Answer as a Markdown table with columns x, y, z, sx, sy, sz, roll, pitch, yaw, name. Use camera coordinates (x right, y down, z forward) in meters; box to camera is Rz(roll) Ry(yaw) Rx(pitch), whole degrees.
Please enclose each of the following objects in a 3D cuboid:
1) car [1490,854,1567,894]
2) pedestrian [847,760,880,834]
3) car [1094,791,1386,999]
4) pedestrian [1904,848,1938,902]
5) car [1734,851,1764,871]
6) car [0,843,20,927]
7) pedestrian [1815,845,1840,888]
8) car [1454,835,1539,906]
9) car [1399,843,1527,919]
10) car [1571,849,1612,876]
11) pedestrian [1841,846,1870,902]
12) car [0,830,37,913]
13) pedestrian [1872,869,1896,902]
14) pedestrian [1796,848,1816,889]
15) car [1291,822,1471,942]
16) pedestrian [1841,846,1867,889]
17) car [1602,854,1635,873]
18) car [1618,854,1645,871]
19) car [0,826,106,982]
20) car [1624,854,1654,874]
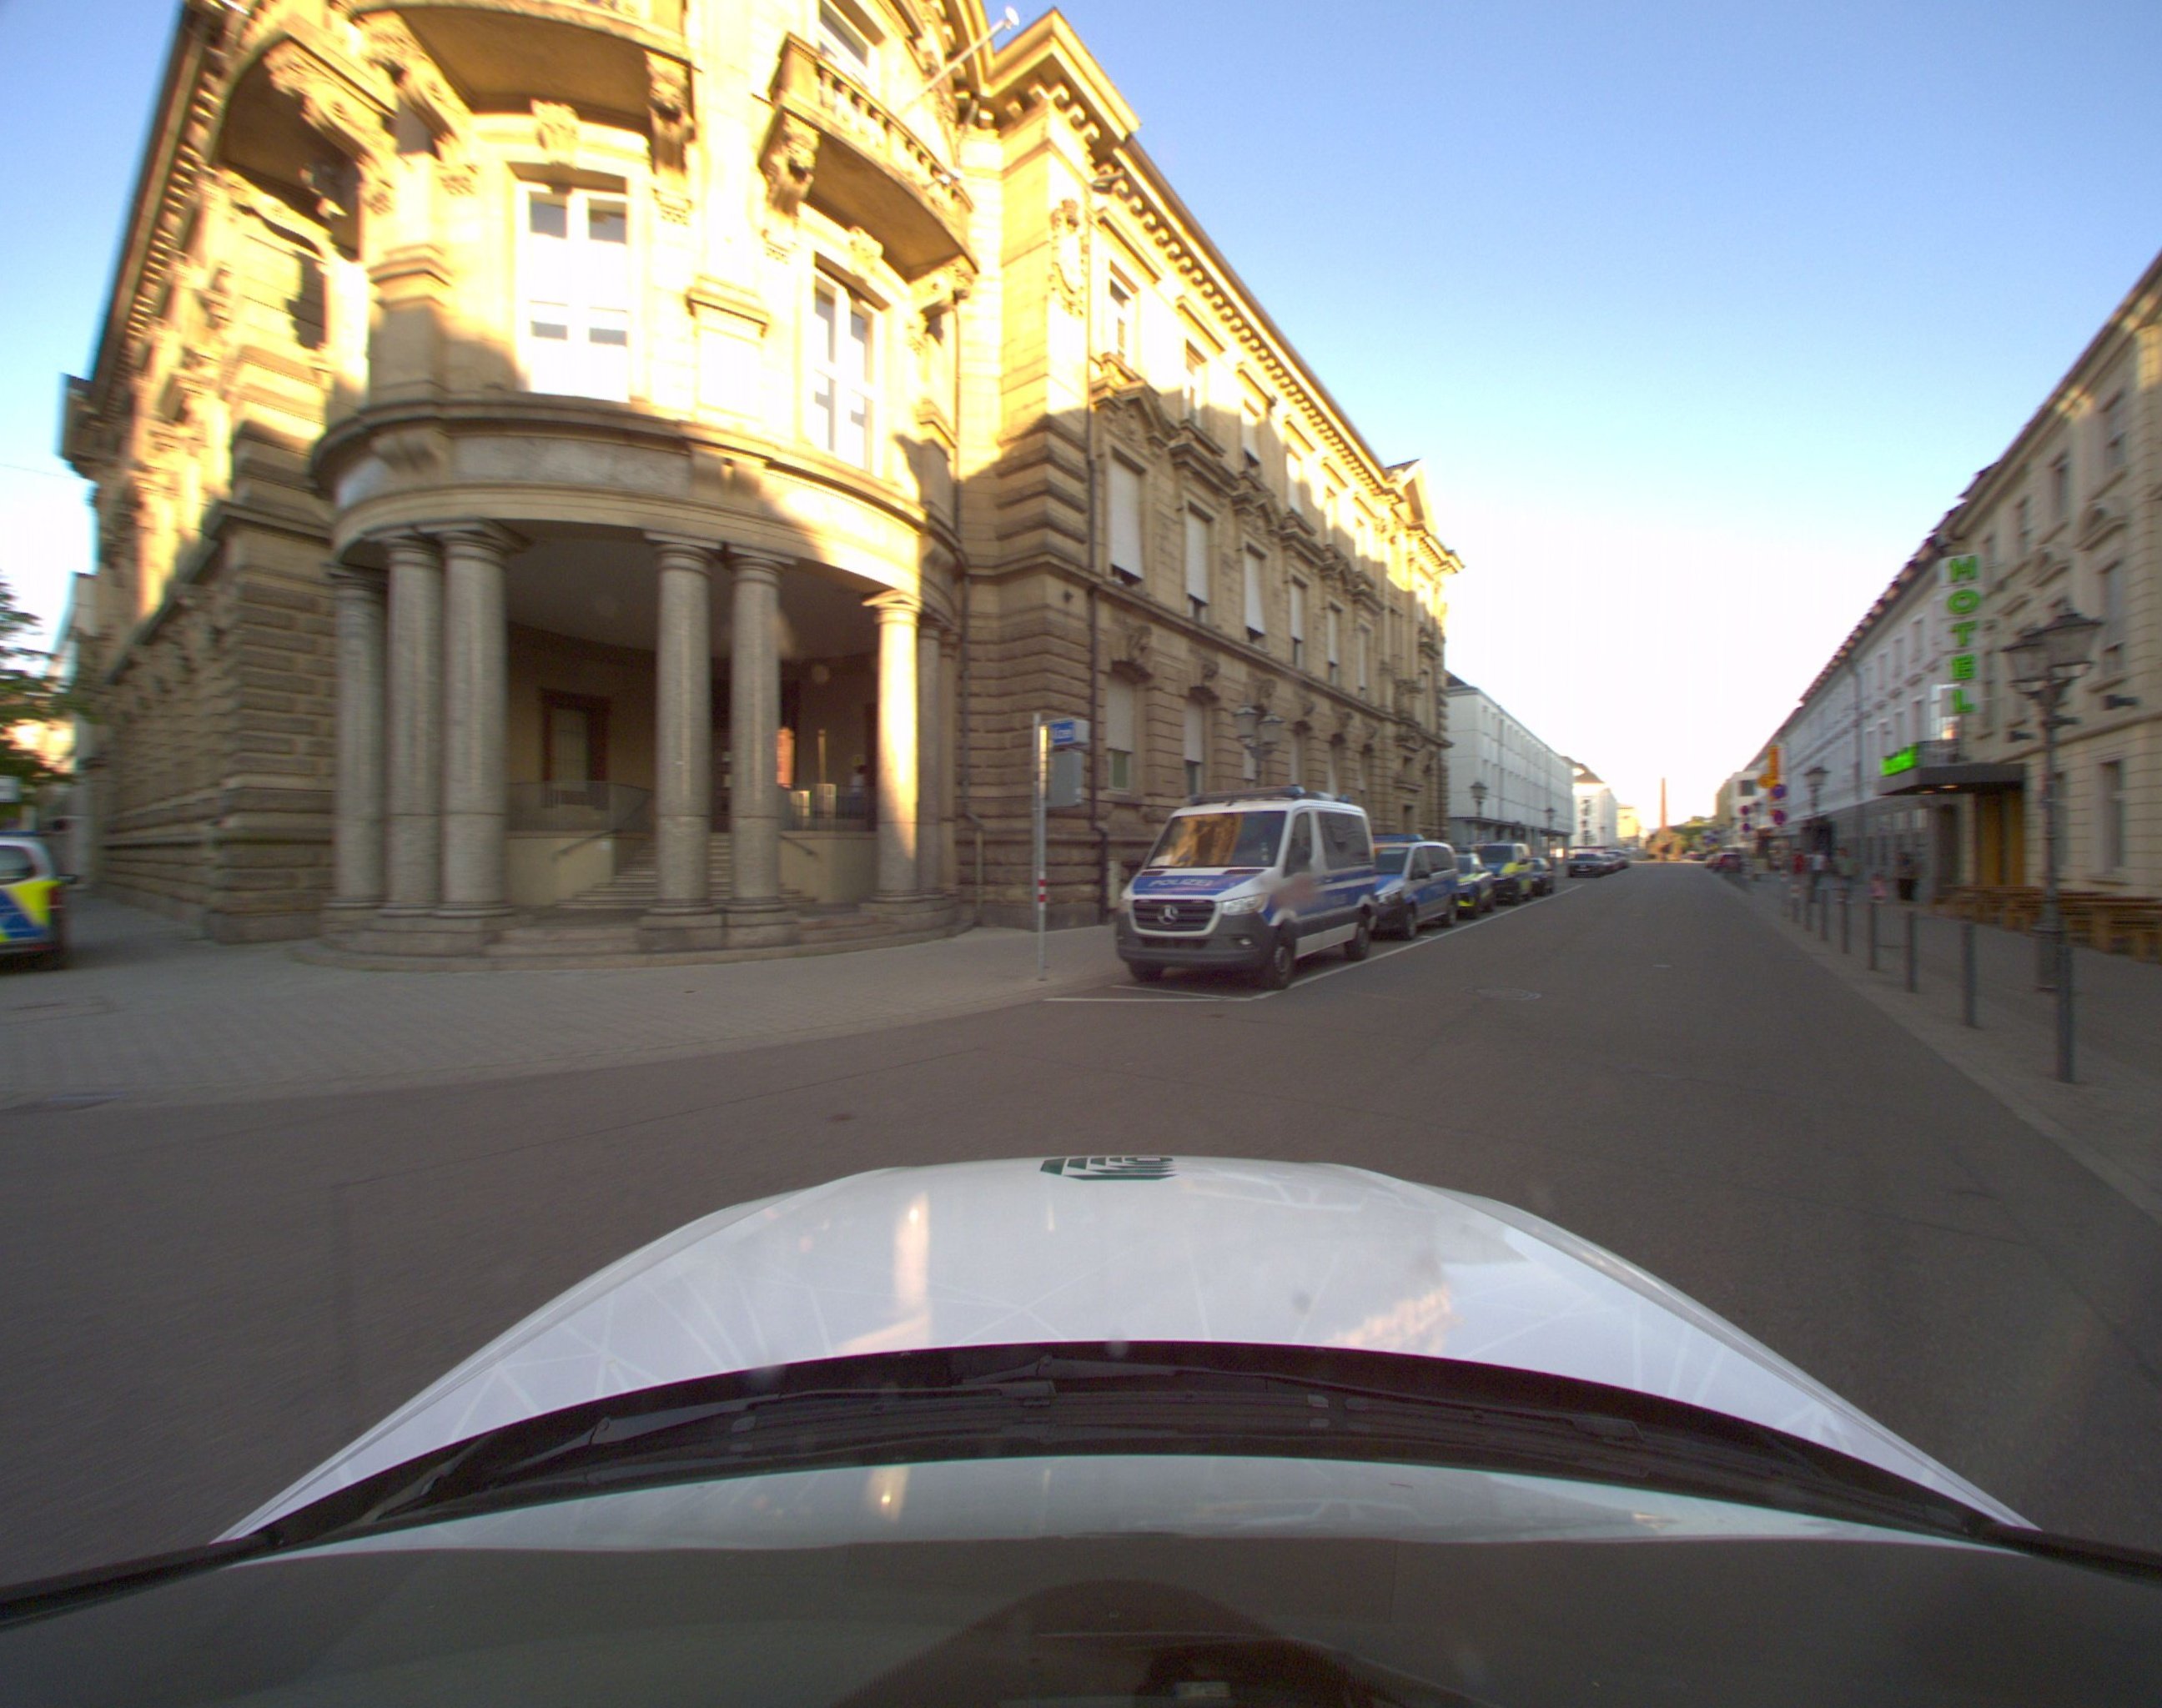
| x | y | z | sx | sy | sz | roll | pitch | yaw | name |
| --- | --- | --- | --- | --- | --- | --- | --- | --- | --- |
| 17.615 | 0.744 | 31.963 | 1.974 | 1.494 | 4.191 | -1 | -1 | 38 | car |
| -5.097 | -1.323 | 19.087 | 0.542 | 1.682 | 0.533 | -1 | -1 | 22 | pedestrian |
| 2.465 | 0.420 | 11.194 | 1.974 | 2.171 | 5.240 | 0 | 0 | 35 | car |
| 25.289 | 0.612 | 24.517 | 0.623 | 1.601 | 0.618 | 0 | 0 | 39 | pedestrian |
| 53.637 | 0.537 | 65.446 | 1.742 | 1.523 | 3.700 | 0 | 0 | 38 | car |
| -27.915 | 0.742 | 20.123 | 3.948 | 2.013 | 2.013 | 0 | 0 | 38 | car |
| 31.054 | 0.513 | 33.877 | 0.741 | 1.730 | 0.886 | 0 | 0 | 41 | pedestrian |
| 13.574 | 0.506 | 26.444 | 1.974 | 2.077 | 5.021 | -1 | -1 | 33 | car |
| 10.126 | 0.645 | 21.347 | 1.974 | 1.752 | 5.021 | -1 | -1 | 38 | car |
| 32.302 | 0.506 | 51.501 | 1.768 | 1.615 | 4.192 | -1 | 0 | 38 | car |
| 24.314 | 0.608 | 25.564 | 0.601 | 1.730 | 0.562 | 0 | 0 | 39 | pedestrian |
| -33.794 | 0.518 | 24.936 | 3.948 | 2.445 | 2.243 | 0 | 0 | 38 | car |
| 24.883 | 0.972 | 25.238 | 0.455 | 0.980 | 0.562 | 0 | 0 | 39 | pedestrian |
| 31.841 | 0.629 | 35.764 | 0.614 | 1.789 | 0.919 | 0 | 0 | 39 | pedestrian |
| 6.361 | 0.494 | 16.835 | 1.974 | 2.087 | 5.240 | -1 | -1 | 38 | car |
| 31.681 | 0.550 | 33.398 | 0.706 | 1.730 | 0.879 | 0 | 0 | 40 | pedestrian |
| 41.474 | 0.718 | 62.841 | 1.768 | 1.408 | 4.114 | -1 | 0 | 38 | car |
| 54.565 | 0.846 | 80.658 | 1.974 | 1.662 | 4.025 | 0 | 0 | 38 | car |
| -15.584 | 0.651 | 11.592 | 3.949 | 2.013 | 2.012 | 0 | 1 | 42 | car |
| 51.004 | 0.903 | 74.391 | 1.974 | 1.728 | 4.544 | -2 | -1 | 38 | car |
